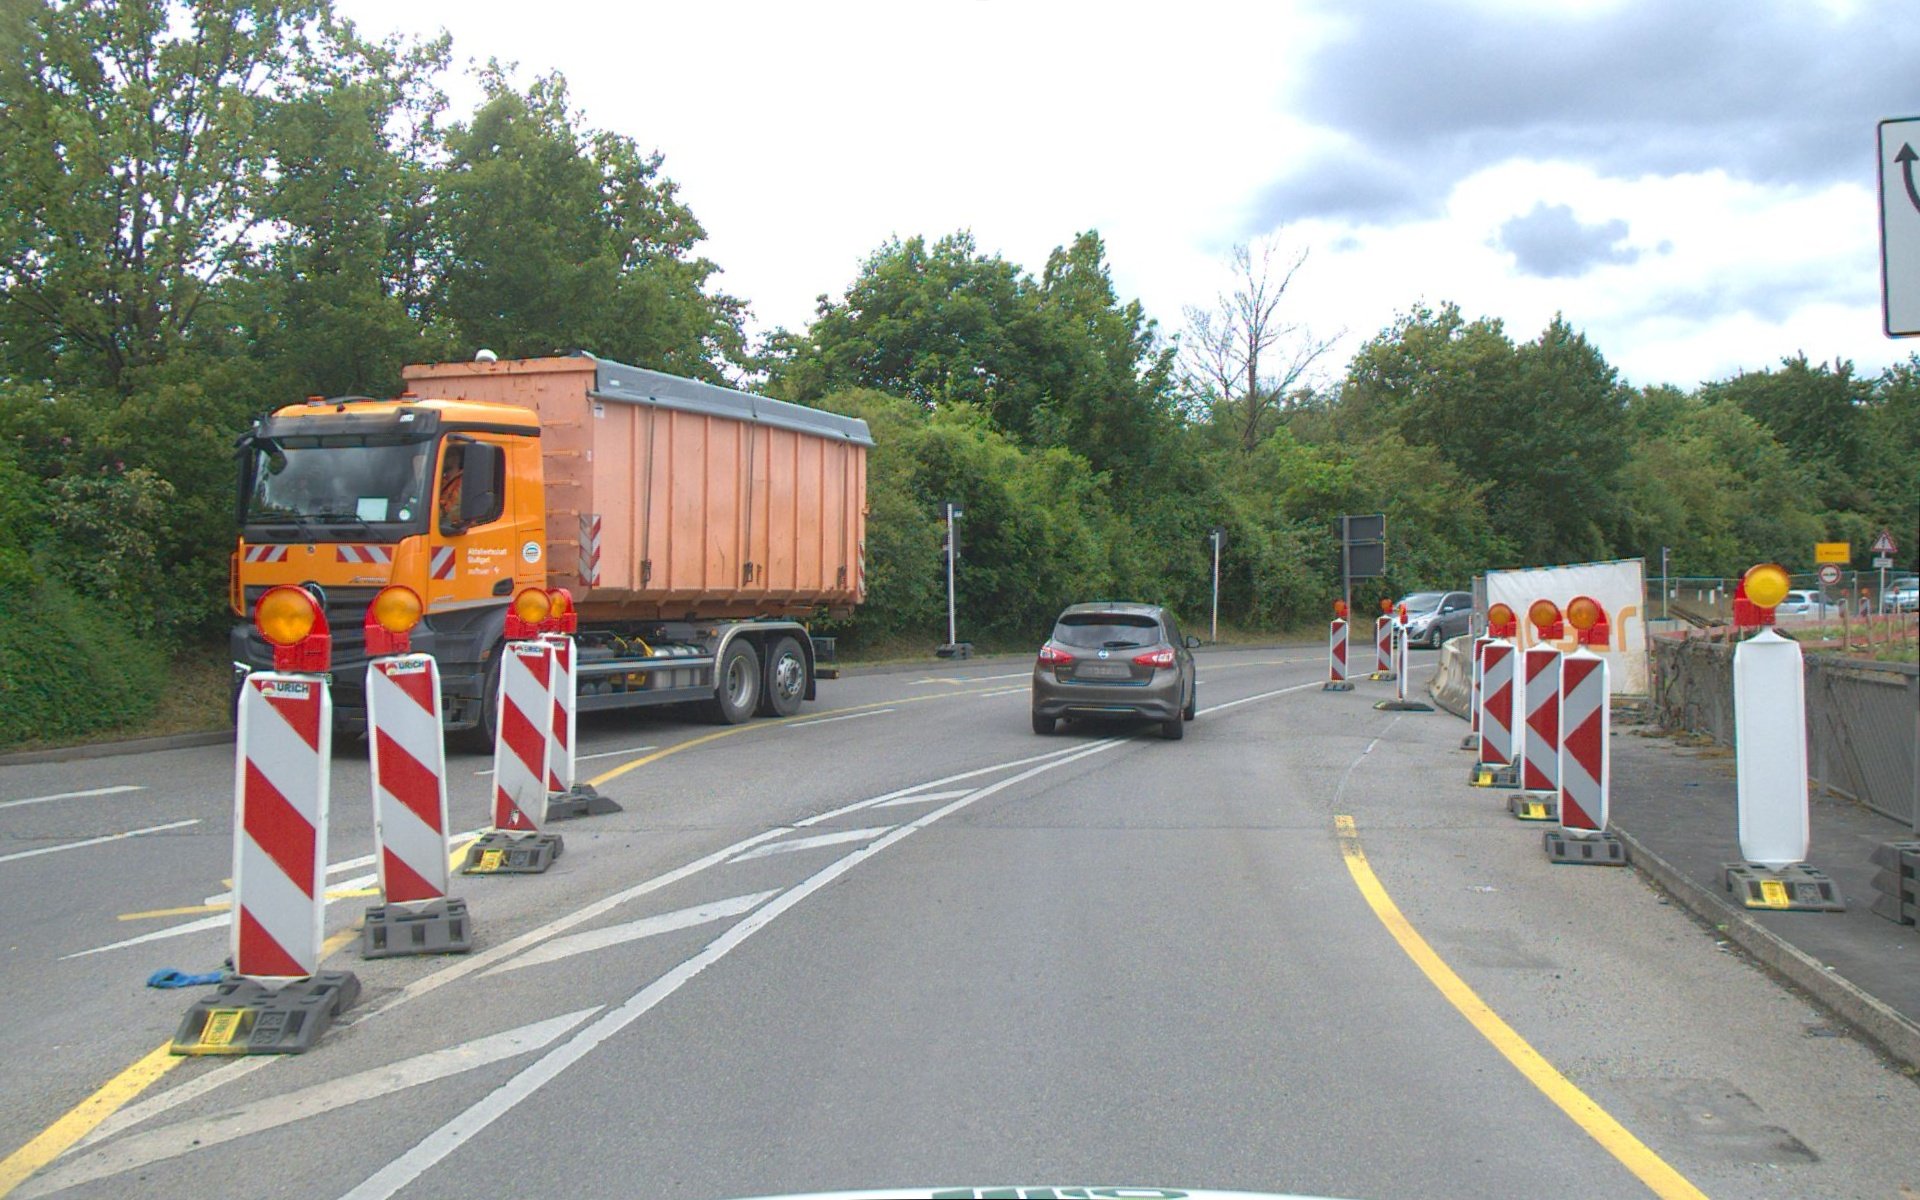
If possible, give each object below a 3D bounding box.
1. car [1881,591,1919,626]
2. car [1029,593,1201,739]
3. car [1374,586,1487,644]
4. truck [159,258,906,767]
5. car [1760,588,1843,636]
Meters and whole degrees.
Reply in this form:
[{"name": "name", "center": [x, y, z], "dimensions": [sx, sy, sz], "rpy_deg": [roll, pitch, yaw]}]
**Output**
[{"name": "car", "center": [45.288, 0.387, 78.317], "dimensions": [4.149, 1.579, 1.637], "rpy_deg": [0, 1, -41]}, {"name": "car", "center": [2.006, 0.732, 20.384], "dimensions": [1.759, 1.579, 4.003], "rpy_deg": [1, 0, 10]}, {"name": "car", "center": [13.487, 0.418, 47.255], "dimensions": [1.606, 1.572, 4.331], "rpy_deg": [1, 0, 38]}, {"name": "truck", "center": [-4.051, -0.764, 19.074], "dimensions": [3.047, 4.294, 9.790], "rpy_deg": [0, 0, 23]}, {"name": "car", "center": [30.586, 0.438, 60.055], "dimensions": [1.687, 1.704, 3.975], "rpy_deg": [-2, -1, 42]}]
